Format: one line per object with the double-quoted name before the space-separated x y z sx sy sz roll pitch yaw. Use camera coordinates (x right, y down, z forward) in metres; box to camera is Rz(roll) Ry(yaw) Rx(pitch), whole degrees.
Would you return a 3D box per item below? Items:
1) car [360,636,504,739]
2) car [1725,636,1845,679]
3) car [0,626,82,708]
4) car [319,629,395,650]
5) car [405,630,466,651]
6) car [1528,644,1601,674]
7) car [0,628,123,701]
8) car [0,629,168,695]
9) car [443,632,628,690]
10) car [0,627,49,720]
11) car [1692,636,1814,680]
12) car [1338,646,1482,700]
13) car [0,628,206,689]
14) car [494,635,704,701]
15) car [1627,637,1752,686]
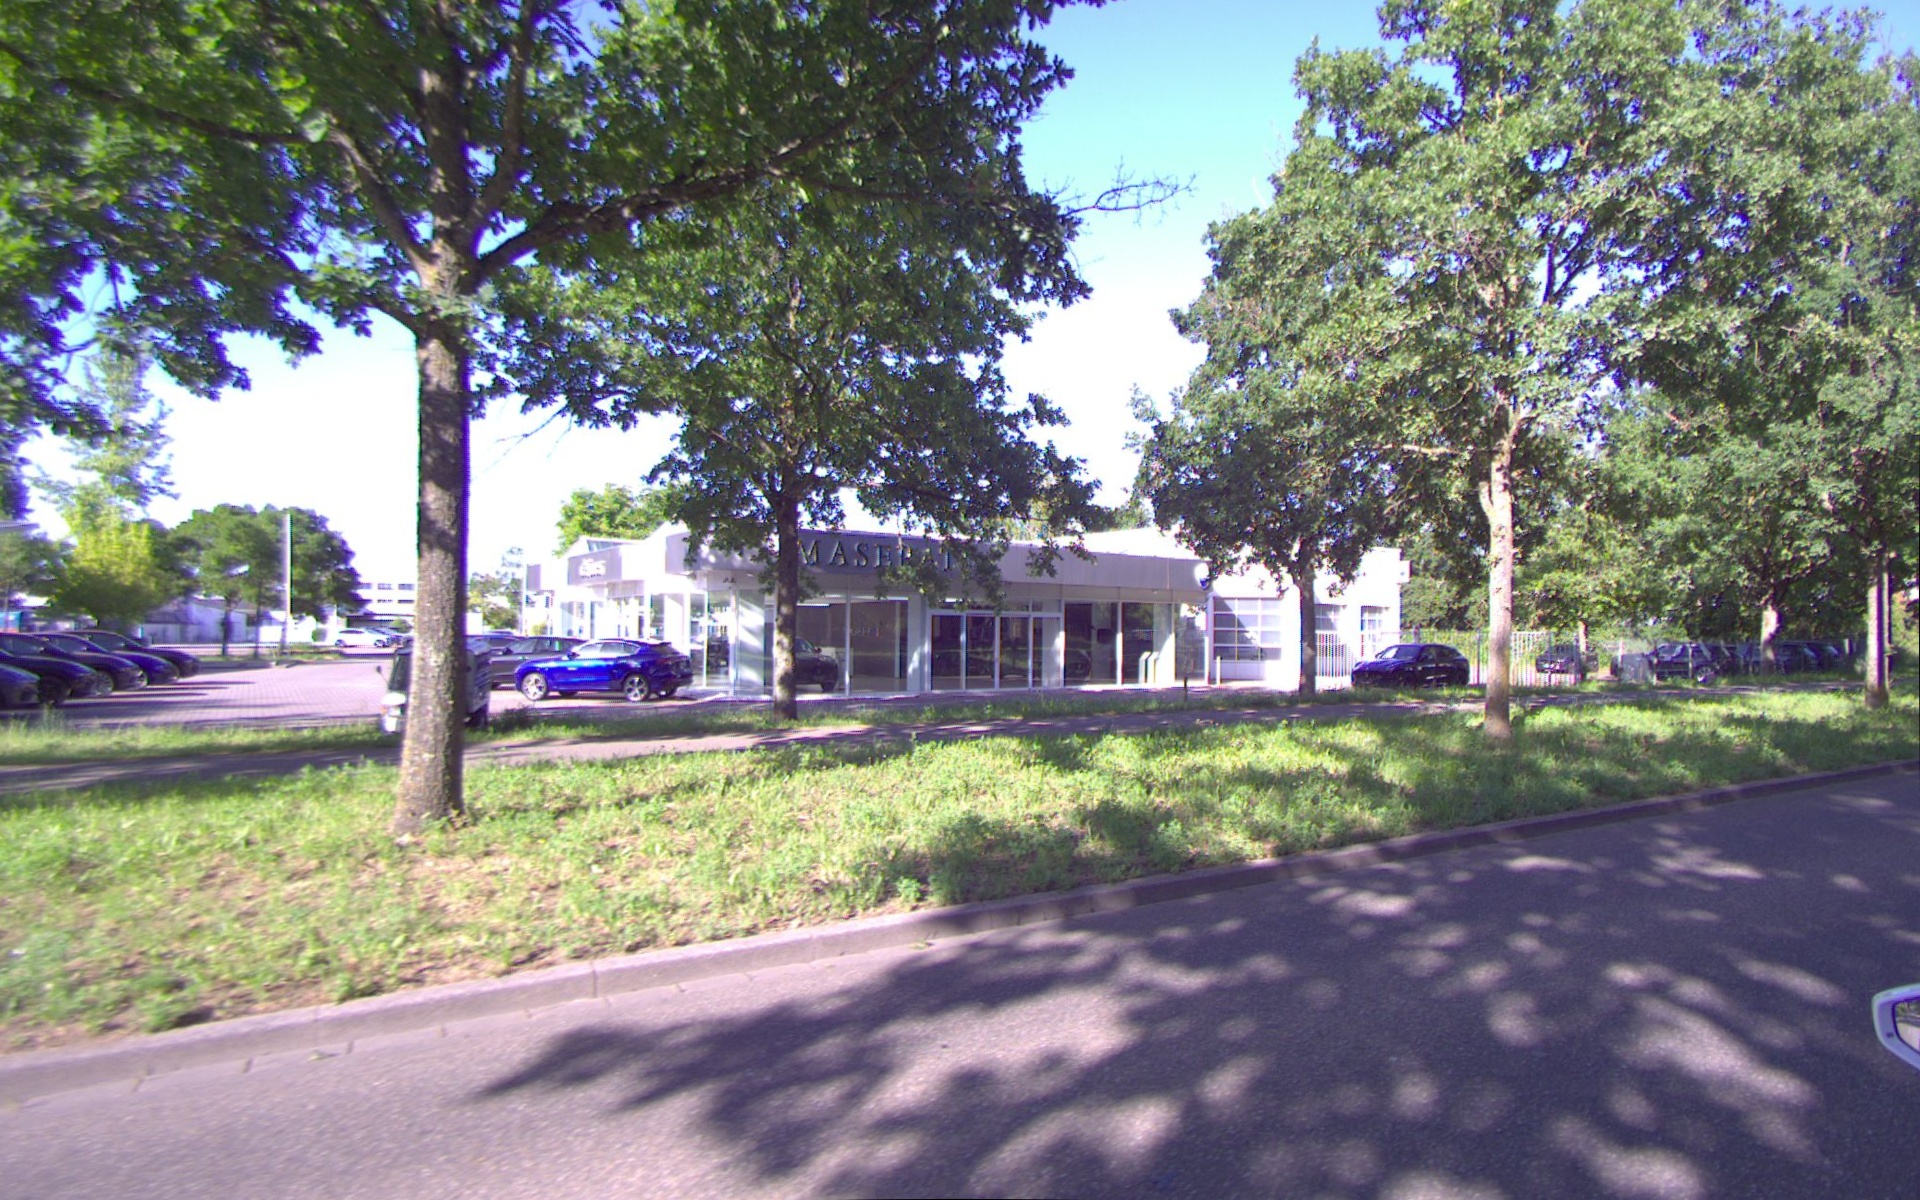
"car" -8.416 1.344 16.196 1.401 1.489 2.569 1 -2 -13
"car" 40.283 2.783 49.113 1.980 1.825 4.162 2 0 -35
"car" -22.500 1.443 21.754 5.221 1.712 1.975 2 0 -42
"car" -51.423 3.345 85.824 5.360 1.683 1.987 1 -1 -26
"car" -44.077 3.376 84.472 4.460 1.683 1.987 1 -1 -26
"car" 35.114 3.382 58.301 4.840 1.587 1.979 2 0 -37
"car" -23.998 1.565 24.670 5.221 1.683 1.975 2 0 -42
"car" -25.304 1.680 27.791 5.221 1.683 1.975 2 0 -42
"car" -13.116 1.859 31.294 4.912 1.683 1.999 0 0 -3
"car" -20.695 1.403 18.879 5.225 1.740 1.974 2 0 -44
"car" 37.739 2.727 47.877 1.980 1.825 4.162 2 0 -35
"car" 15.286 2.426 34.035 4.959 1.619 1.983 2 0 -32
"car" -26.503 1.735 30.815 5.221 1.683 1.975 2 0 -42
"car" -9.937 1.833 27.835 5.153 1.683 2.001 0 0 9
"car" 31.453 2.614 43.403 1.982 1.825 3.957 2 0 -37
